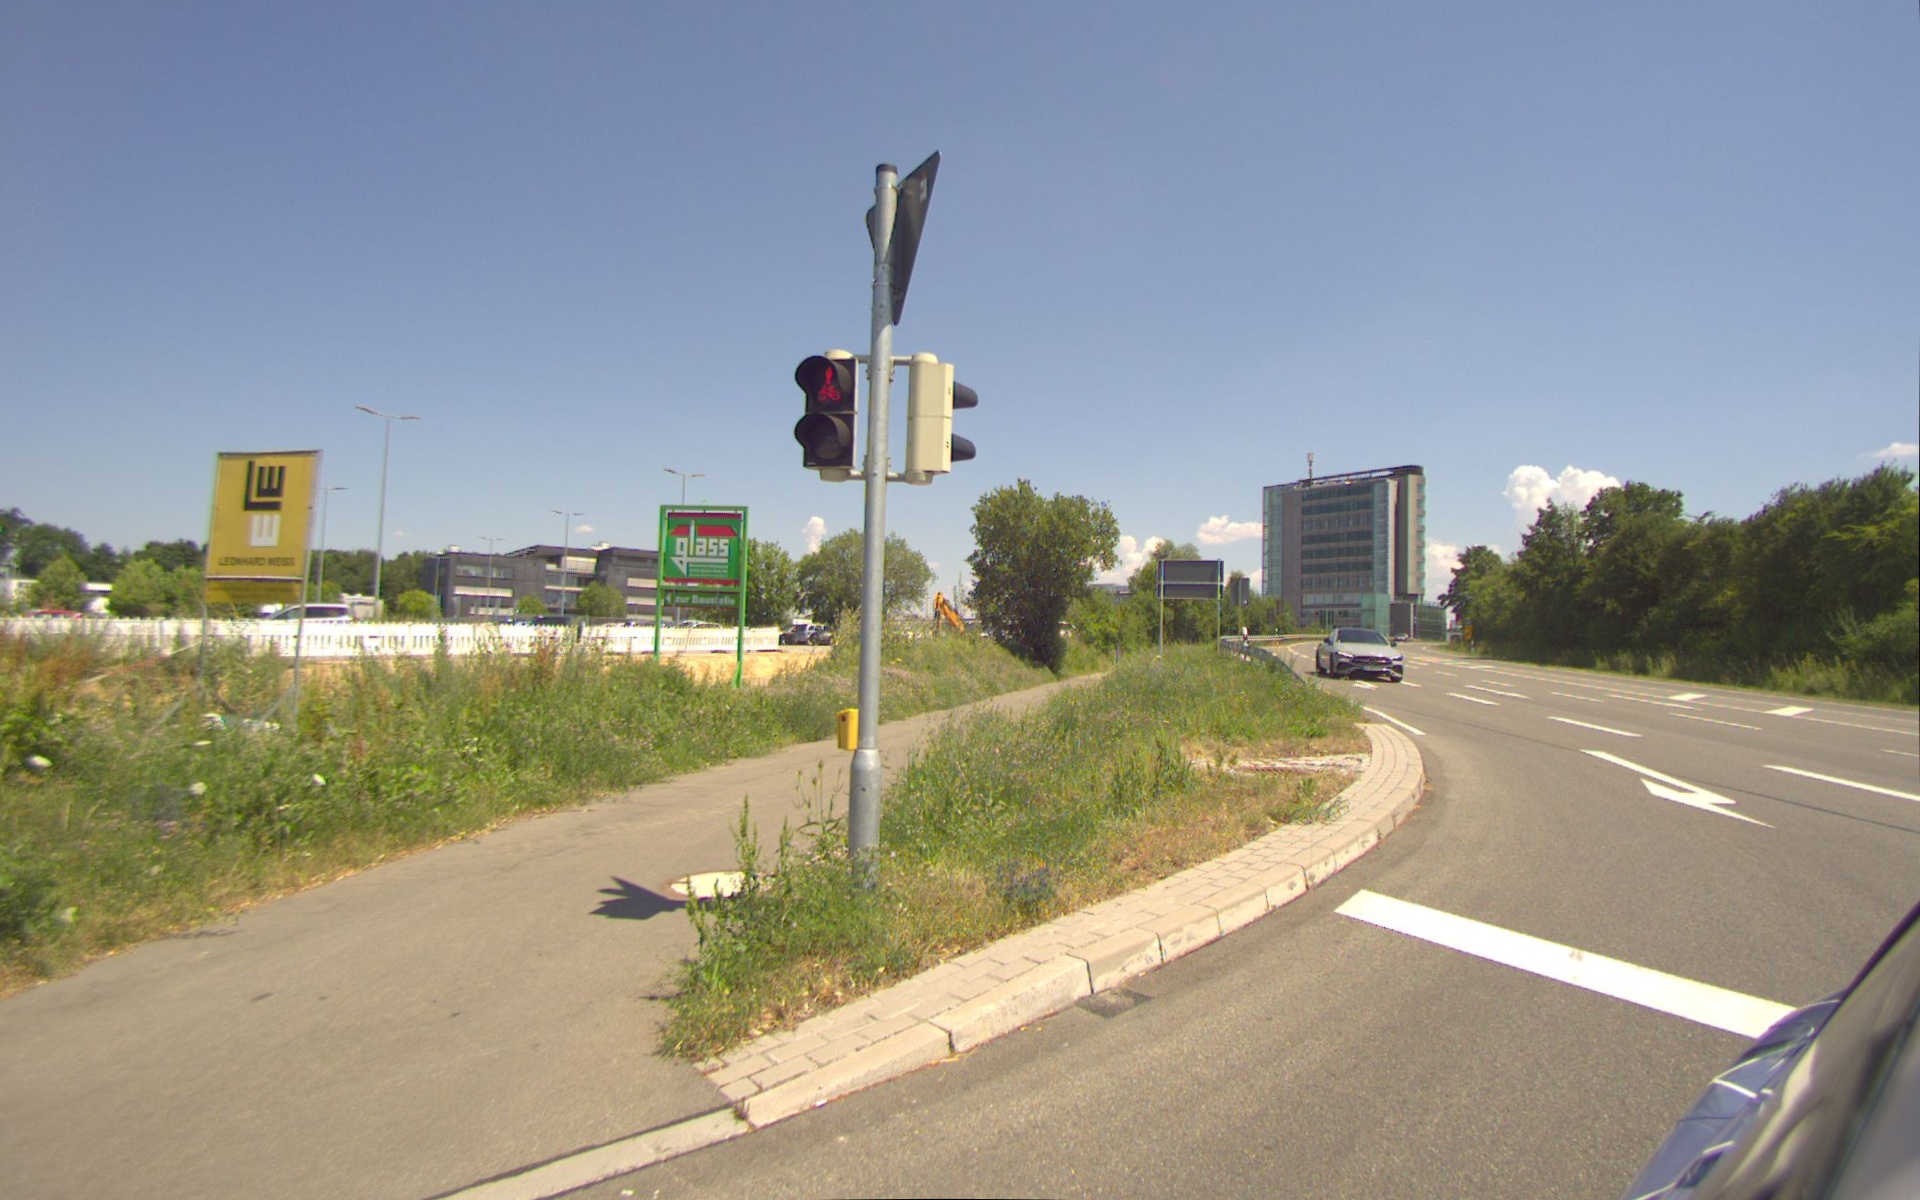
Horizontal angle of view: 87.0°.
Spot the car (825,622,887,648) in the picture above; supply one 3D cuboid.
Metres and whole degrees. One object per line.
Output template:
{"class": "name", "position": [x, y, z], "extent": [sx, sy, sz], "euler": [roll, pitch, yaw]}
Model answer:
{"class": "car", "position": [-7.226, 2.424, 70.581], "extent": [1.992, 1.660, 3.940], "euler": [3, 1, 41]}

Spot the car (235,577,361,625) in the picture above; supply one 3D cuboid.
{"class": "car", "position": [-28.958, 0.080, 44.331], "extent": [4.395, 1.939, 1.938], "euler": [2, -1, -39]}

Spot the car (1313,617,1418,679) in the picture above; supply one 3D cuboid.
{"class": "car", "position": [11.551, 1.305, 29.151], "extent": [1.893, 1.460, 4.467], "euler": [3, 0, 11]}

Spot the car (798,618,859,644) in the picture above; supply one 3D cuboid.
{"class": "car", "position": [-9.292, 2.173, 71.897], "extent": [1.992, 1.660, 3.940], "euler": [3, 1, 41]}

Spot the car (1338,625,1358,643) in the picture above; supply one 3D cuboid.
{"class": "car", "position": [47.383, 4.132, 123.559], "extent": [1.973, 2.039, 3.977], "euler": [2, 0, 17]}

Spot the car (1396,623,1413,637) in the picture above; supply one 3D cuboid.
{"class": "car", "position": [72.060, 4.801, 164.027], "extent": [1.984, 2.039, 3.957], "euler": [2, 0, 30]}

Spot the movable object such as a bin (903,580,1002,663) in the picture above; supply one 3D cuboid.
{"class": "movable object such as a bin", "position": [-0.249, 1.076, 55.438], "extent": [2.948, 4.095, 8.059], "euler": [2, 0, 17]}

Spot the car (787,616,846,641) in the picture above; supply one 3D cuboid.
{"class": "car", "position": [-10.530, 2.097, 74.422], "extent": [1.992, 1.660, 3.940], "euler": [3, 1, 41]}
